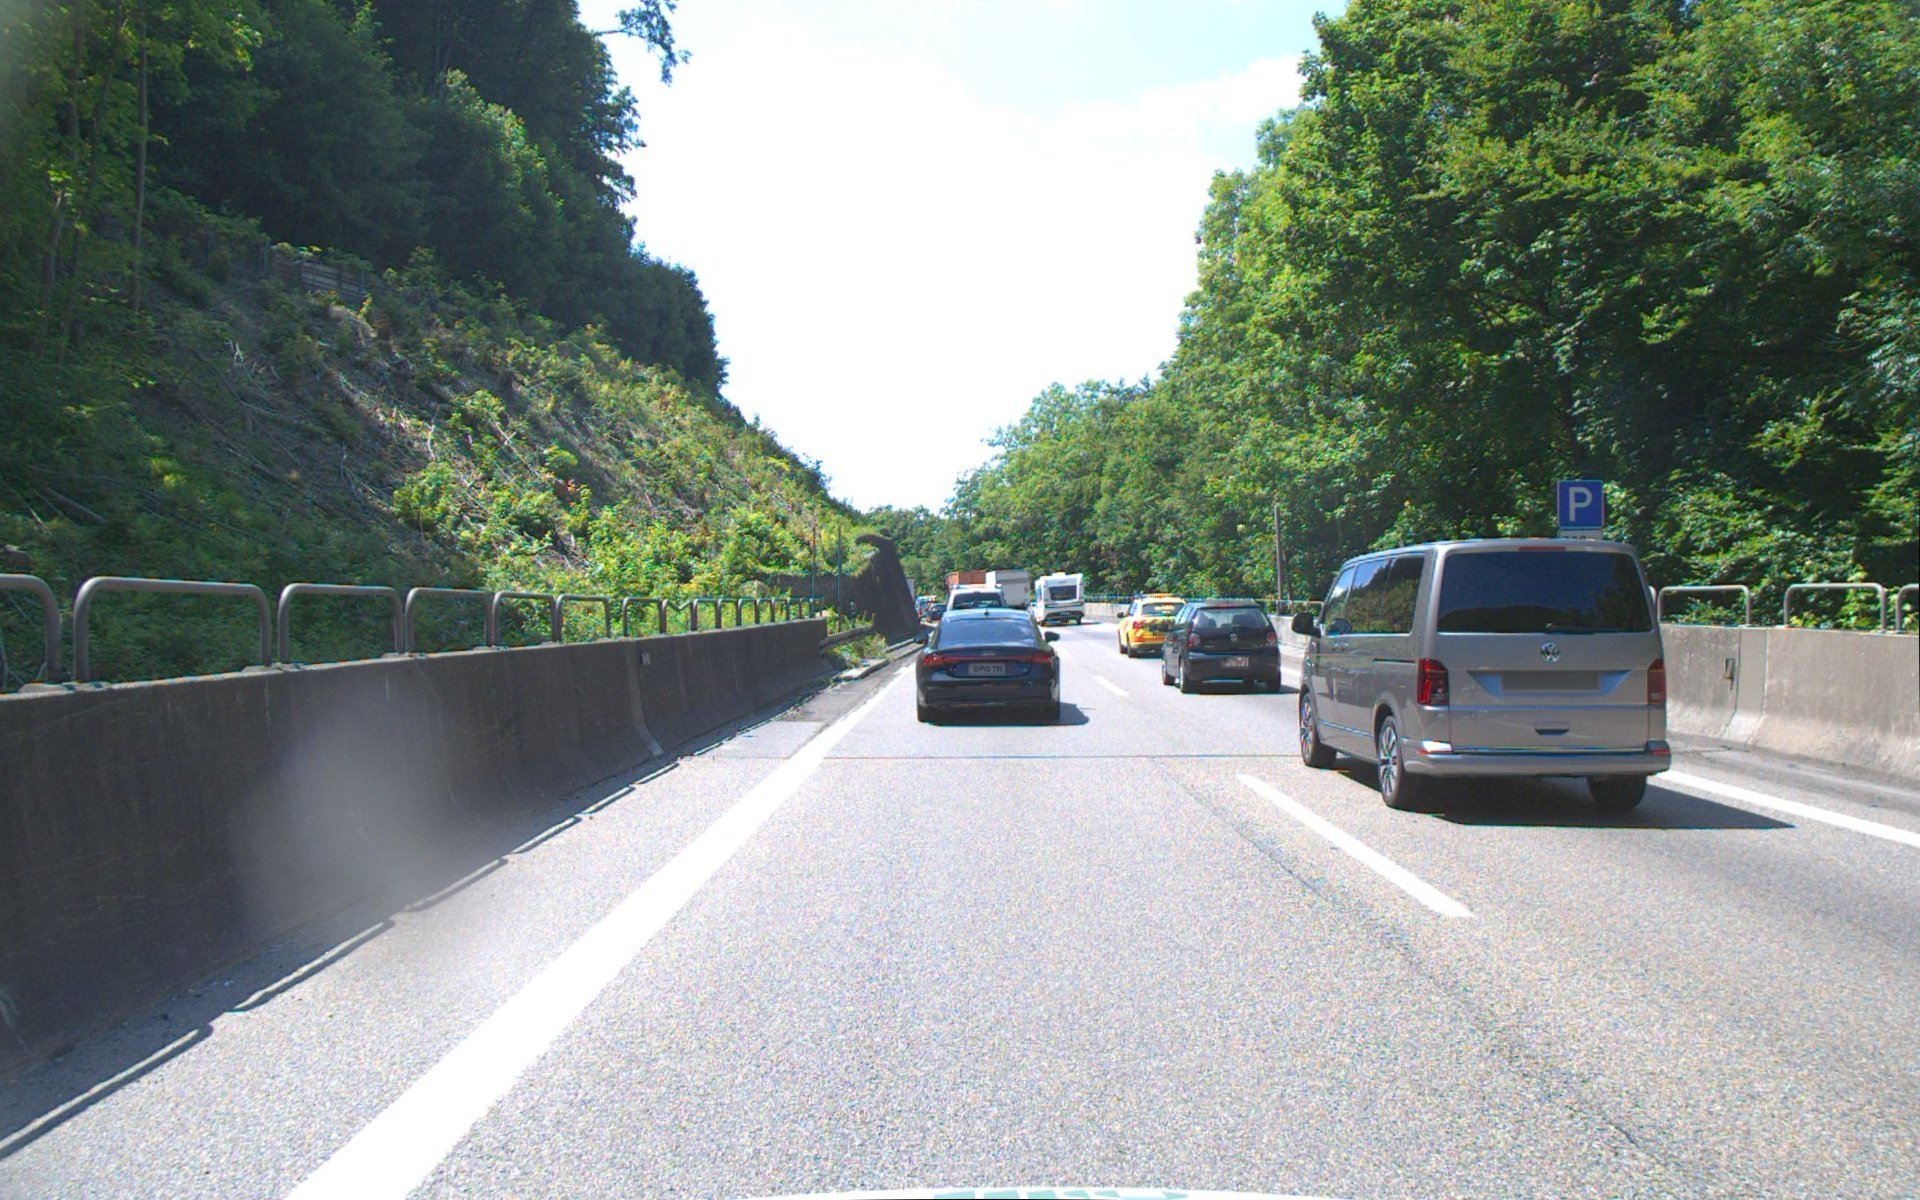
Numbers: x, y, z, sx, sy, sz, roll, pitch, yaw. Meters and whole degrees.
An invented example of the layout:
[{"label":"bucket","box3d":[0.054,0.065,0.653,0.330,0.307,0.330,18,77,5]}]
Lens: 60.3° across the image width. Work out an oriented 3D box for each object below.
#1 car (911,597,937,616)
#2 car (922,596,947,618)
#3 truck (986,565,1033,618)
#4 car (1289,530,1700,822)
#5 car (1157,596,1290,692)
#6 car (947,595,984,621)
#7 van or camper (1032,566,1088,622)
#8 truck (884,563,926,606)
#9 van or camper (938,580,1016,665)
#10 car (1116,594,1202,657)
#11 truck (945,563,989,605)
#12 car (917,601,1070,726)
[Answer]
[{"label":"car","box3d":[-3.051,0.523,138.702,1.718,1.598,3.764,0,0,-8]},{"label":"car","box3d":[-1.989,0.532,126.482,1.716,1.598,3.768,0,0,-4]},{"label":"truck","box3d":[3.654,-0.611,124.572,2.867,3.752,7.719,1,0,-3]},{"label":"car","box3d":[4.099,0.521,13.587,1.900,1.965,4.694,1,0,1]},{"label":"car","box3d":[4.374,0.701,27.944,1.650,1.484,4.000,1,0,1]},{"label":"car","box3d":[0.334,0.527,108.635,1.955,1.646,3.994,0,0,-7]},{"label":"van or camper","box3d":[5.370,-0.320,89.383,2.550,2.905,6.334,1,0,-1]},{"label":"truck","box3d":[-6.294,-1.709,186.507,3.643,4.583,7.706,1,0,-10]},{"label":"van or camper","box3d":[0.454,0.537,40.852,1.815,1.976,4.166,1,0,1]},{"label":"car","box3d":[5.041,0.632,42.241,1.771,1.503,4.082,1,0,1]},{"label":"truck","box3d":[0.545,-1.354,145.823,3.102,3.529,8.213,1,0,-5]},{"label":"car","box3d":[0.366,0.790,22.466,1.866,1.515,4.378,1,0,-1]}]
